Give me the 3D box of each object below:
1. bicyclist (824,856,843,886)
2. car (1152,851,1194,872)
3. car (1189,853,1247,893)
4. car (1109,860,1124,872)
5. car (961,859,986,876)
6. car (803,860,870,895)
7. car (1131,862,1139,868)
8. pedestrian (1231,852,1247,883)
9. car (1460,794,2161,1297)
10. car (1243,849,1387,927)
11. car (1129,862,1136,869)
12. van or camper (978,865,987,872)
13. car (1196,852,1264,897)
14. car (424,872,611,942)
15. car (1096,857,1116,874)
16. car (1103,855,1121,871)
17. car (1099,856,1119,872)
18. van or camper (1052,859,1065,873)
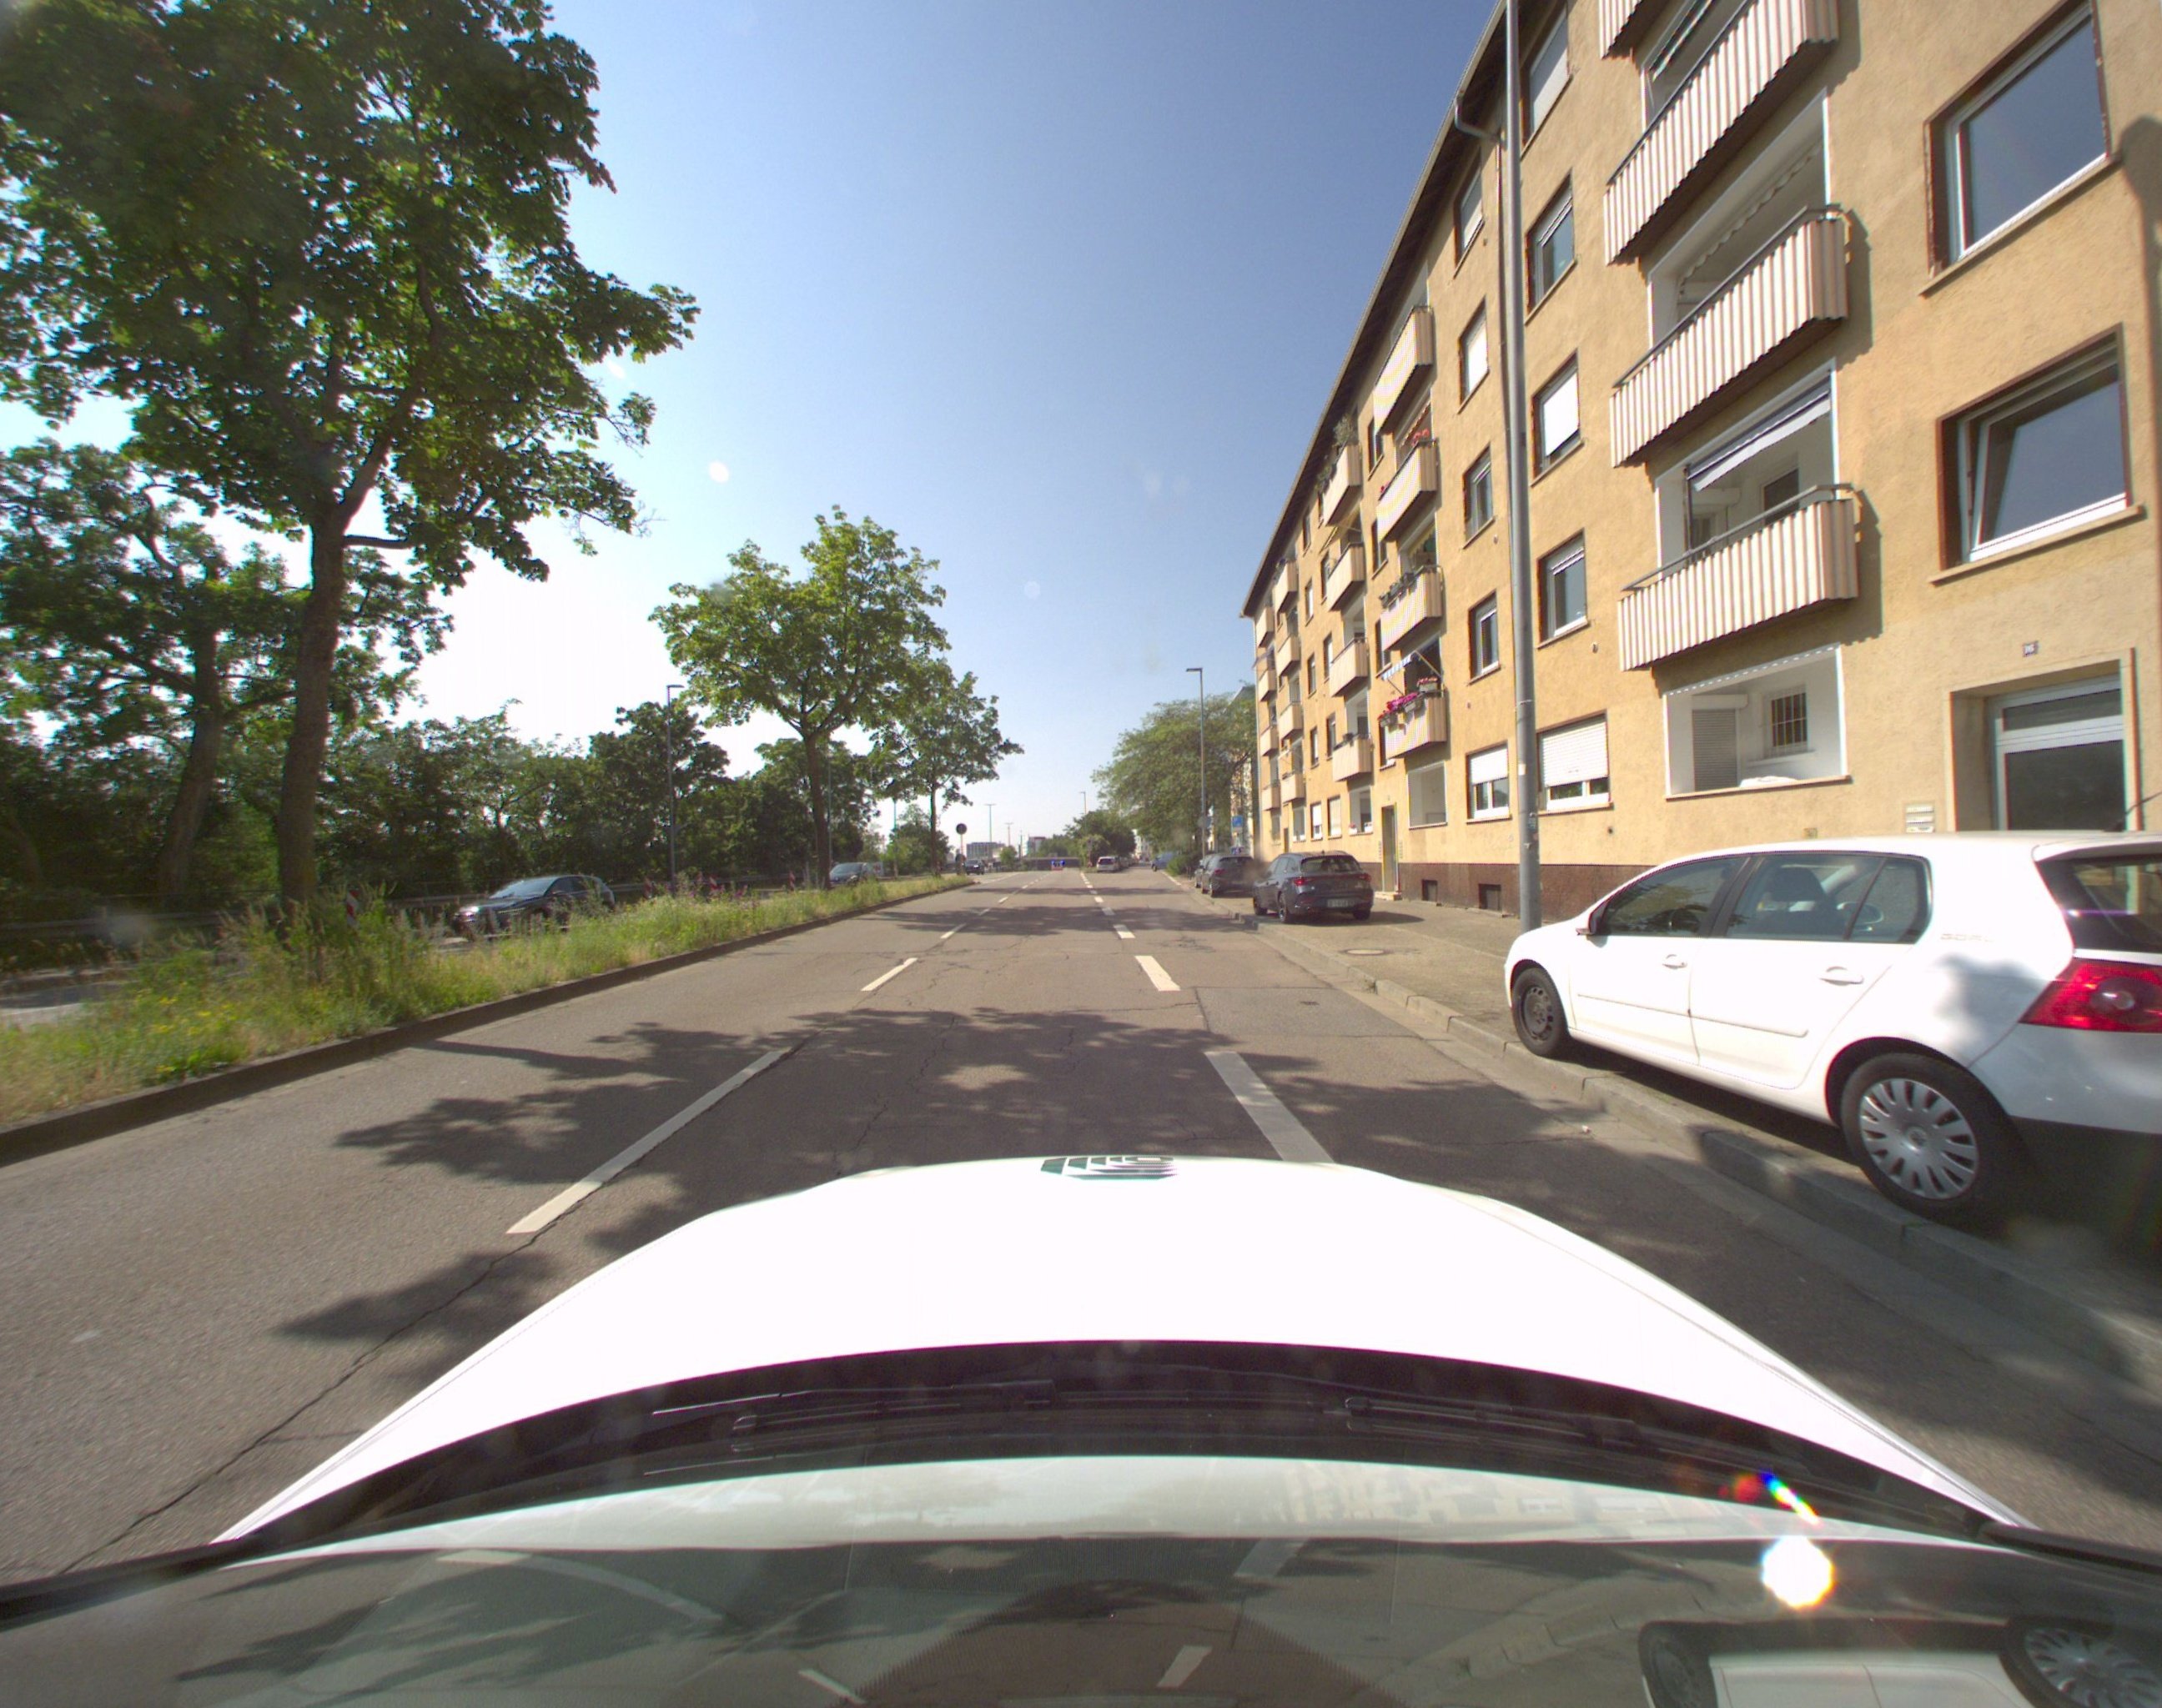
[{"bbox_3d":[-15.224,1.045,50.064,0.692,1.832,1.019,-1,-1,8],"label":"bicyclist"},{"bbox_3d":[8.930,0.694,79.140,1.896,1.921,3.966,2,0,-34],"label":"car"},{"bbox_3d":[5.623,0.746,33.886,1.698,1.514,4.091,-2,0,0],"label":"car"},{"bbox_3d":[4.425,1.510,101.287,1.656,1.473,3.794,1,0,5],"label":"car"},{"bbox_3d":[-11.279,1.375,85.770,1.987,1.734,4.729,-1,-1,0],"label":"car"},{"bbox_3d":[-11.250,1.053,37.761,1.757,1.474,4.085,-1,0,1],"label":"car"},{"bbox_3d":[14.762,3.040,223.001,1.985,1.657,4.004,-1,-1,4],"label":"car"},{"bbox_3d":[8.449,0.694,43.491,0.652,1.609,0.825,-3,0,5],"label":"pedestrian"},{"bbox_3d":[4.000,0.557,4.541,1.751,1.506,4.125,-2,0,-1],"label":"car"},{"bbox_3d":[4.900,0.656,17.759,1.794,1.438,4.589,-2,0,0],"label":"car"},{"bbox_3d":[13.523,3.065,213.249,1.985,1.657,4.004,-1,-1,4],"label":"car"},{"bbox_3d":[-19.971,2.879,165.484,1.463,1.350,4.627,-1,-1,-1],"label":"van or camper"},{"bbox_3d":[5.187,0.684,28.826,1.704,1.462,4.257,-1,0,1],"label":"car"},{"bbox_3d":[-13.900,1.241,20.426,1.791,1.530,4.002,-1,-1,2],"label":"car"},{"bbox_3d":[2.334,1.034,75.400,1.612,1.505,3.466,-1,0,5],"label":"car"},{"bbox_3d":[3.286,0.918,85.697,1.764,1.579,4.189,-1,0,3],"label":"car"},{"bbox_3d":[2.821,0.943,80.082,1.713,1.505,4.137,-1,0,5],"label":"car"},{"bbox_3d":[-4.687,2.552,170.081,2.286,2.789,5.576,-1,-1,4],"label":"van or camper"}]
